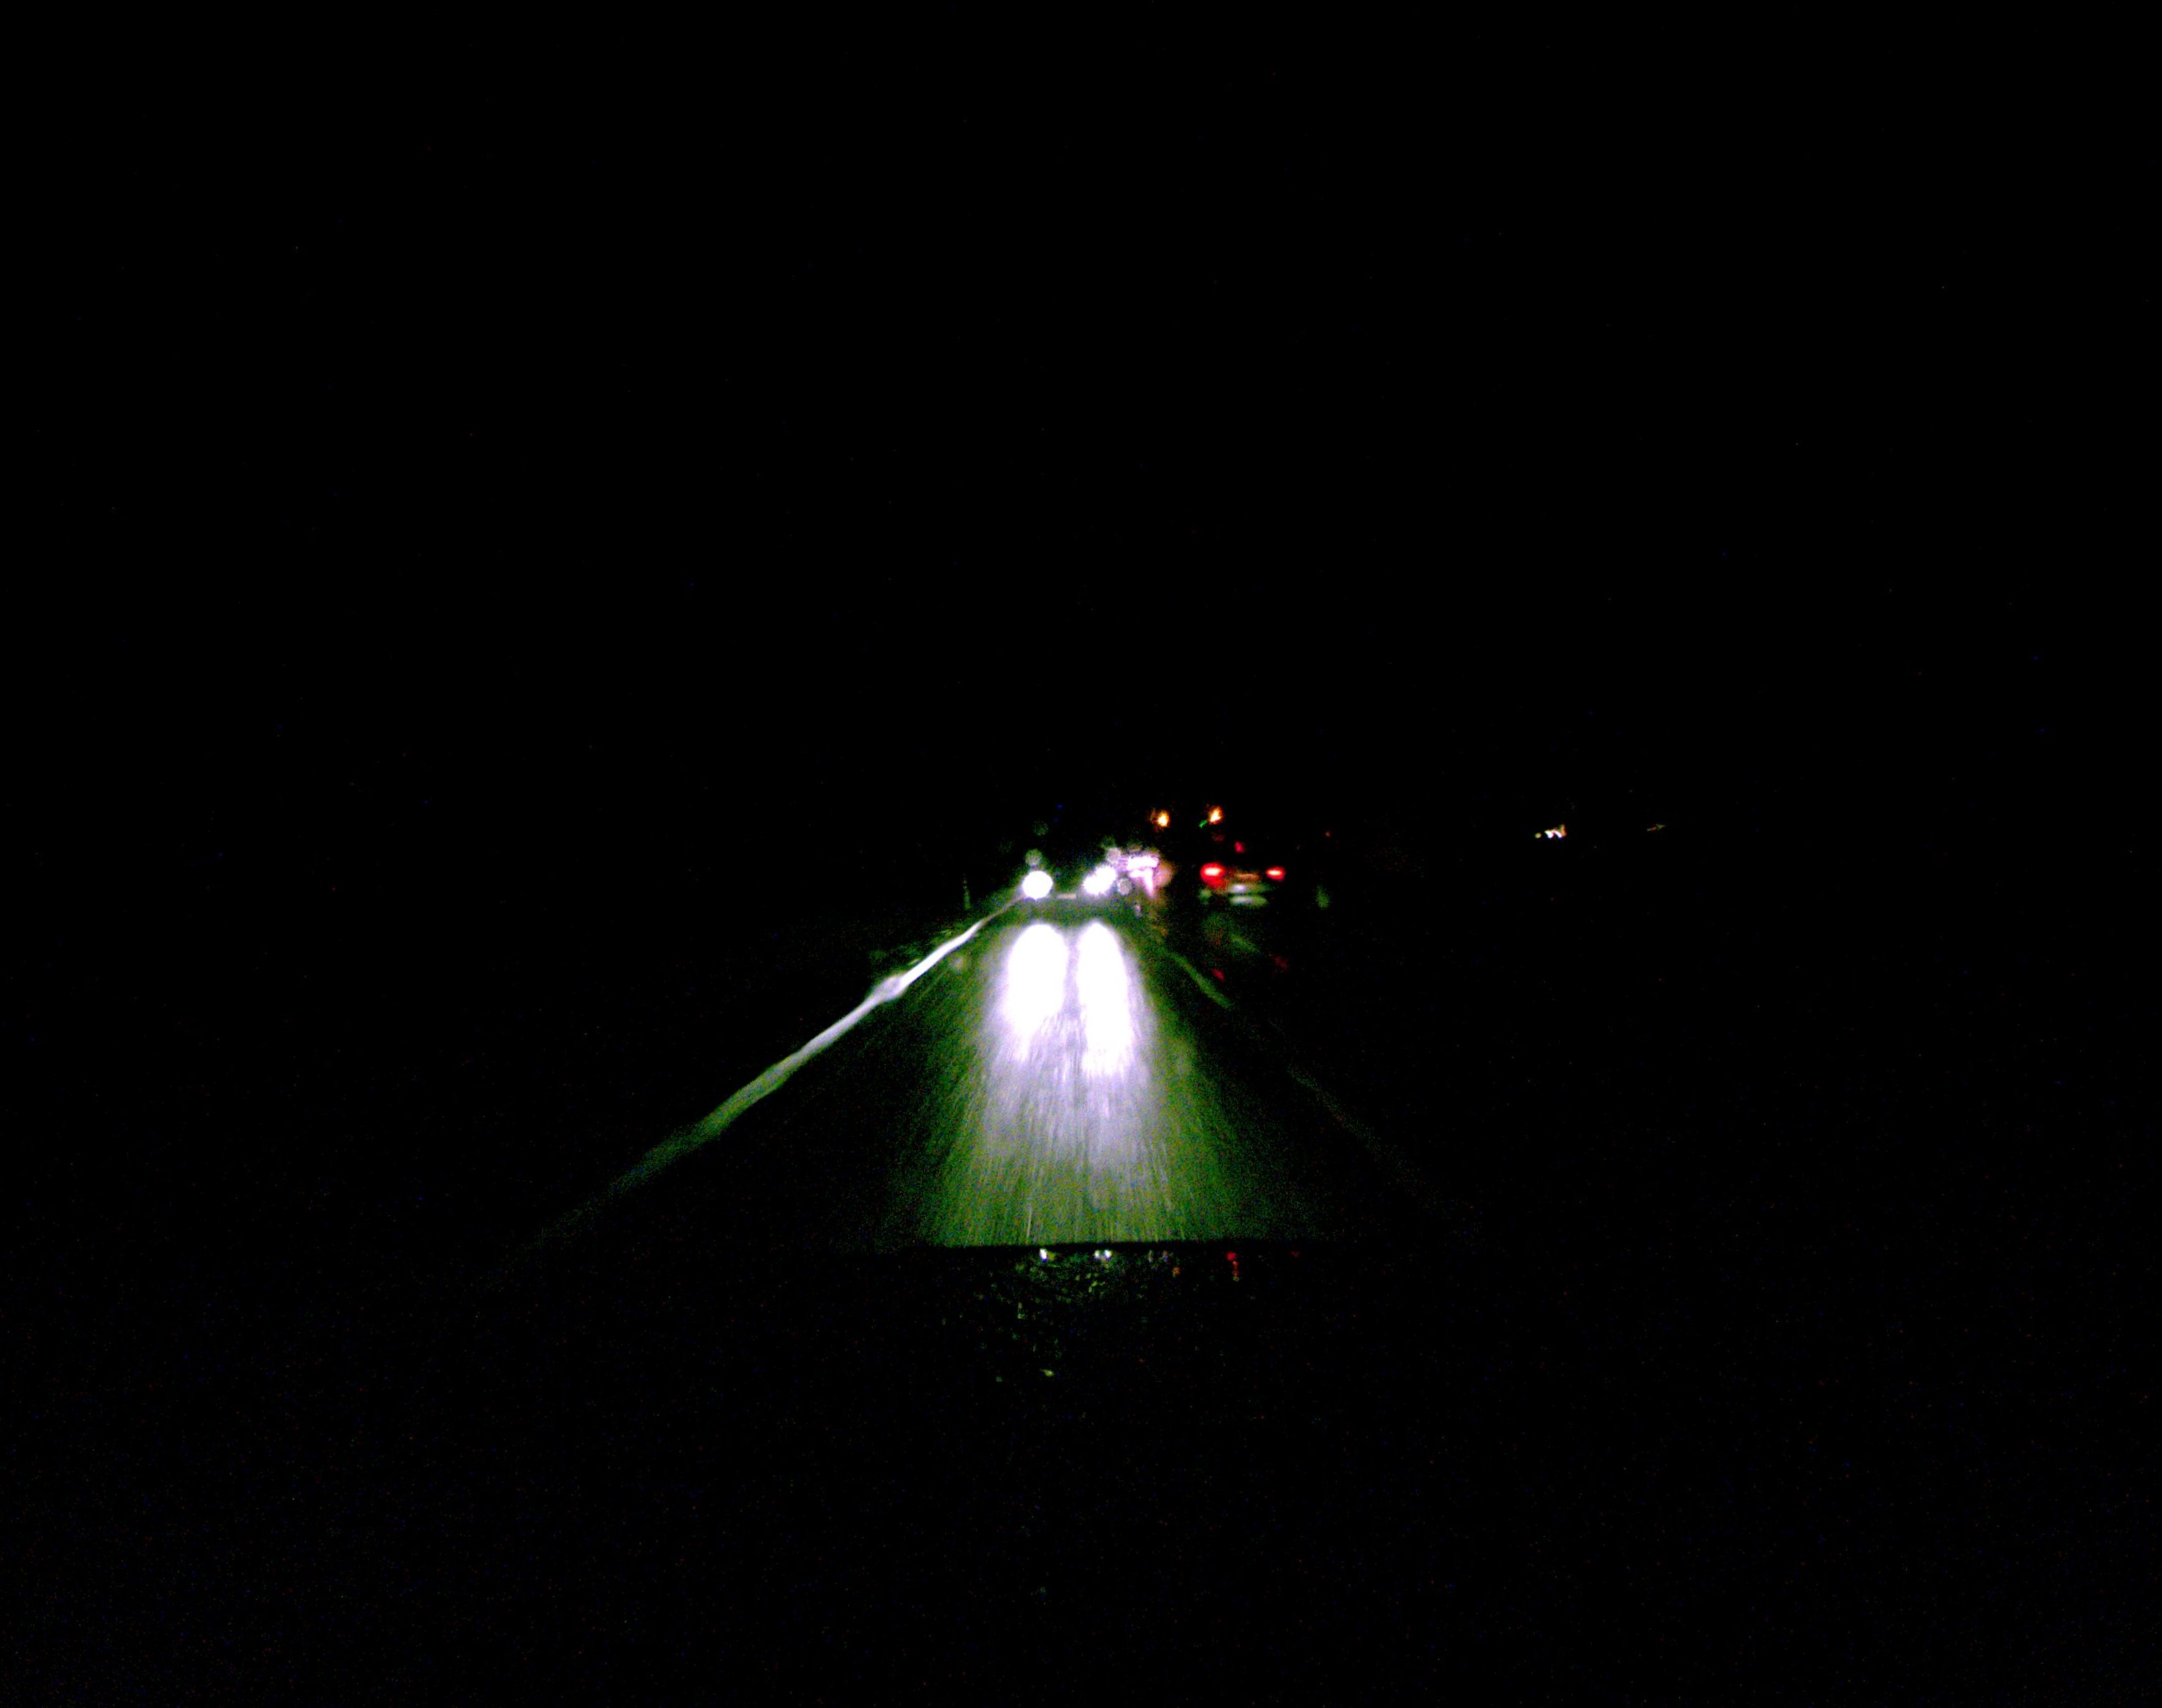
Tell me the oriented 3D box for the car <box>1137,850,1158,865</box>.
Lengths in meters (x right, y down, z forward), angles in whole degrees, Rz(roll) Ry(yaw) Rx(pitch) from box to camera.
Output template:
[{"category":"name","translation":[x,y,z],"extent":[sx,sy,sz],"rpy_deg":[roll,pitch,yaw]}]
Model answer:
[{"category":"car","translation":[7.184,0.375,81.941],"extent":[1.900,1.552,4.002],"rpy_deg":[-2,1,9]}]

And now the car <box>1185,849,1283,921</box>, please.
[{"category":"car","translation":[3.673,0.684,18.858],"extent":[1.645,1.605,3.731],"rpy_deg":[0,0,0]}]

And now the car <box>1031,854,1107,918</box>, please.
[{"category":"car","translation":[-0.274,0.824,21.502],"extent":[1.901,1.552,4.000],"rpy_deg":[-2,1,1]}]
